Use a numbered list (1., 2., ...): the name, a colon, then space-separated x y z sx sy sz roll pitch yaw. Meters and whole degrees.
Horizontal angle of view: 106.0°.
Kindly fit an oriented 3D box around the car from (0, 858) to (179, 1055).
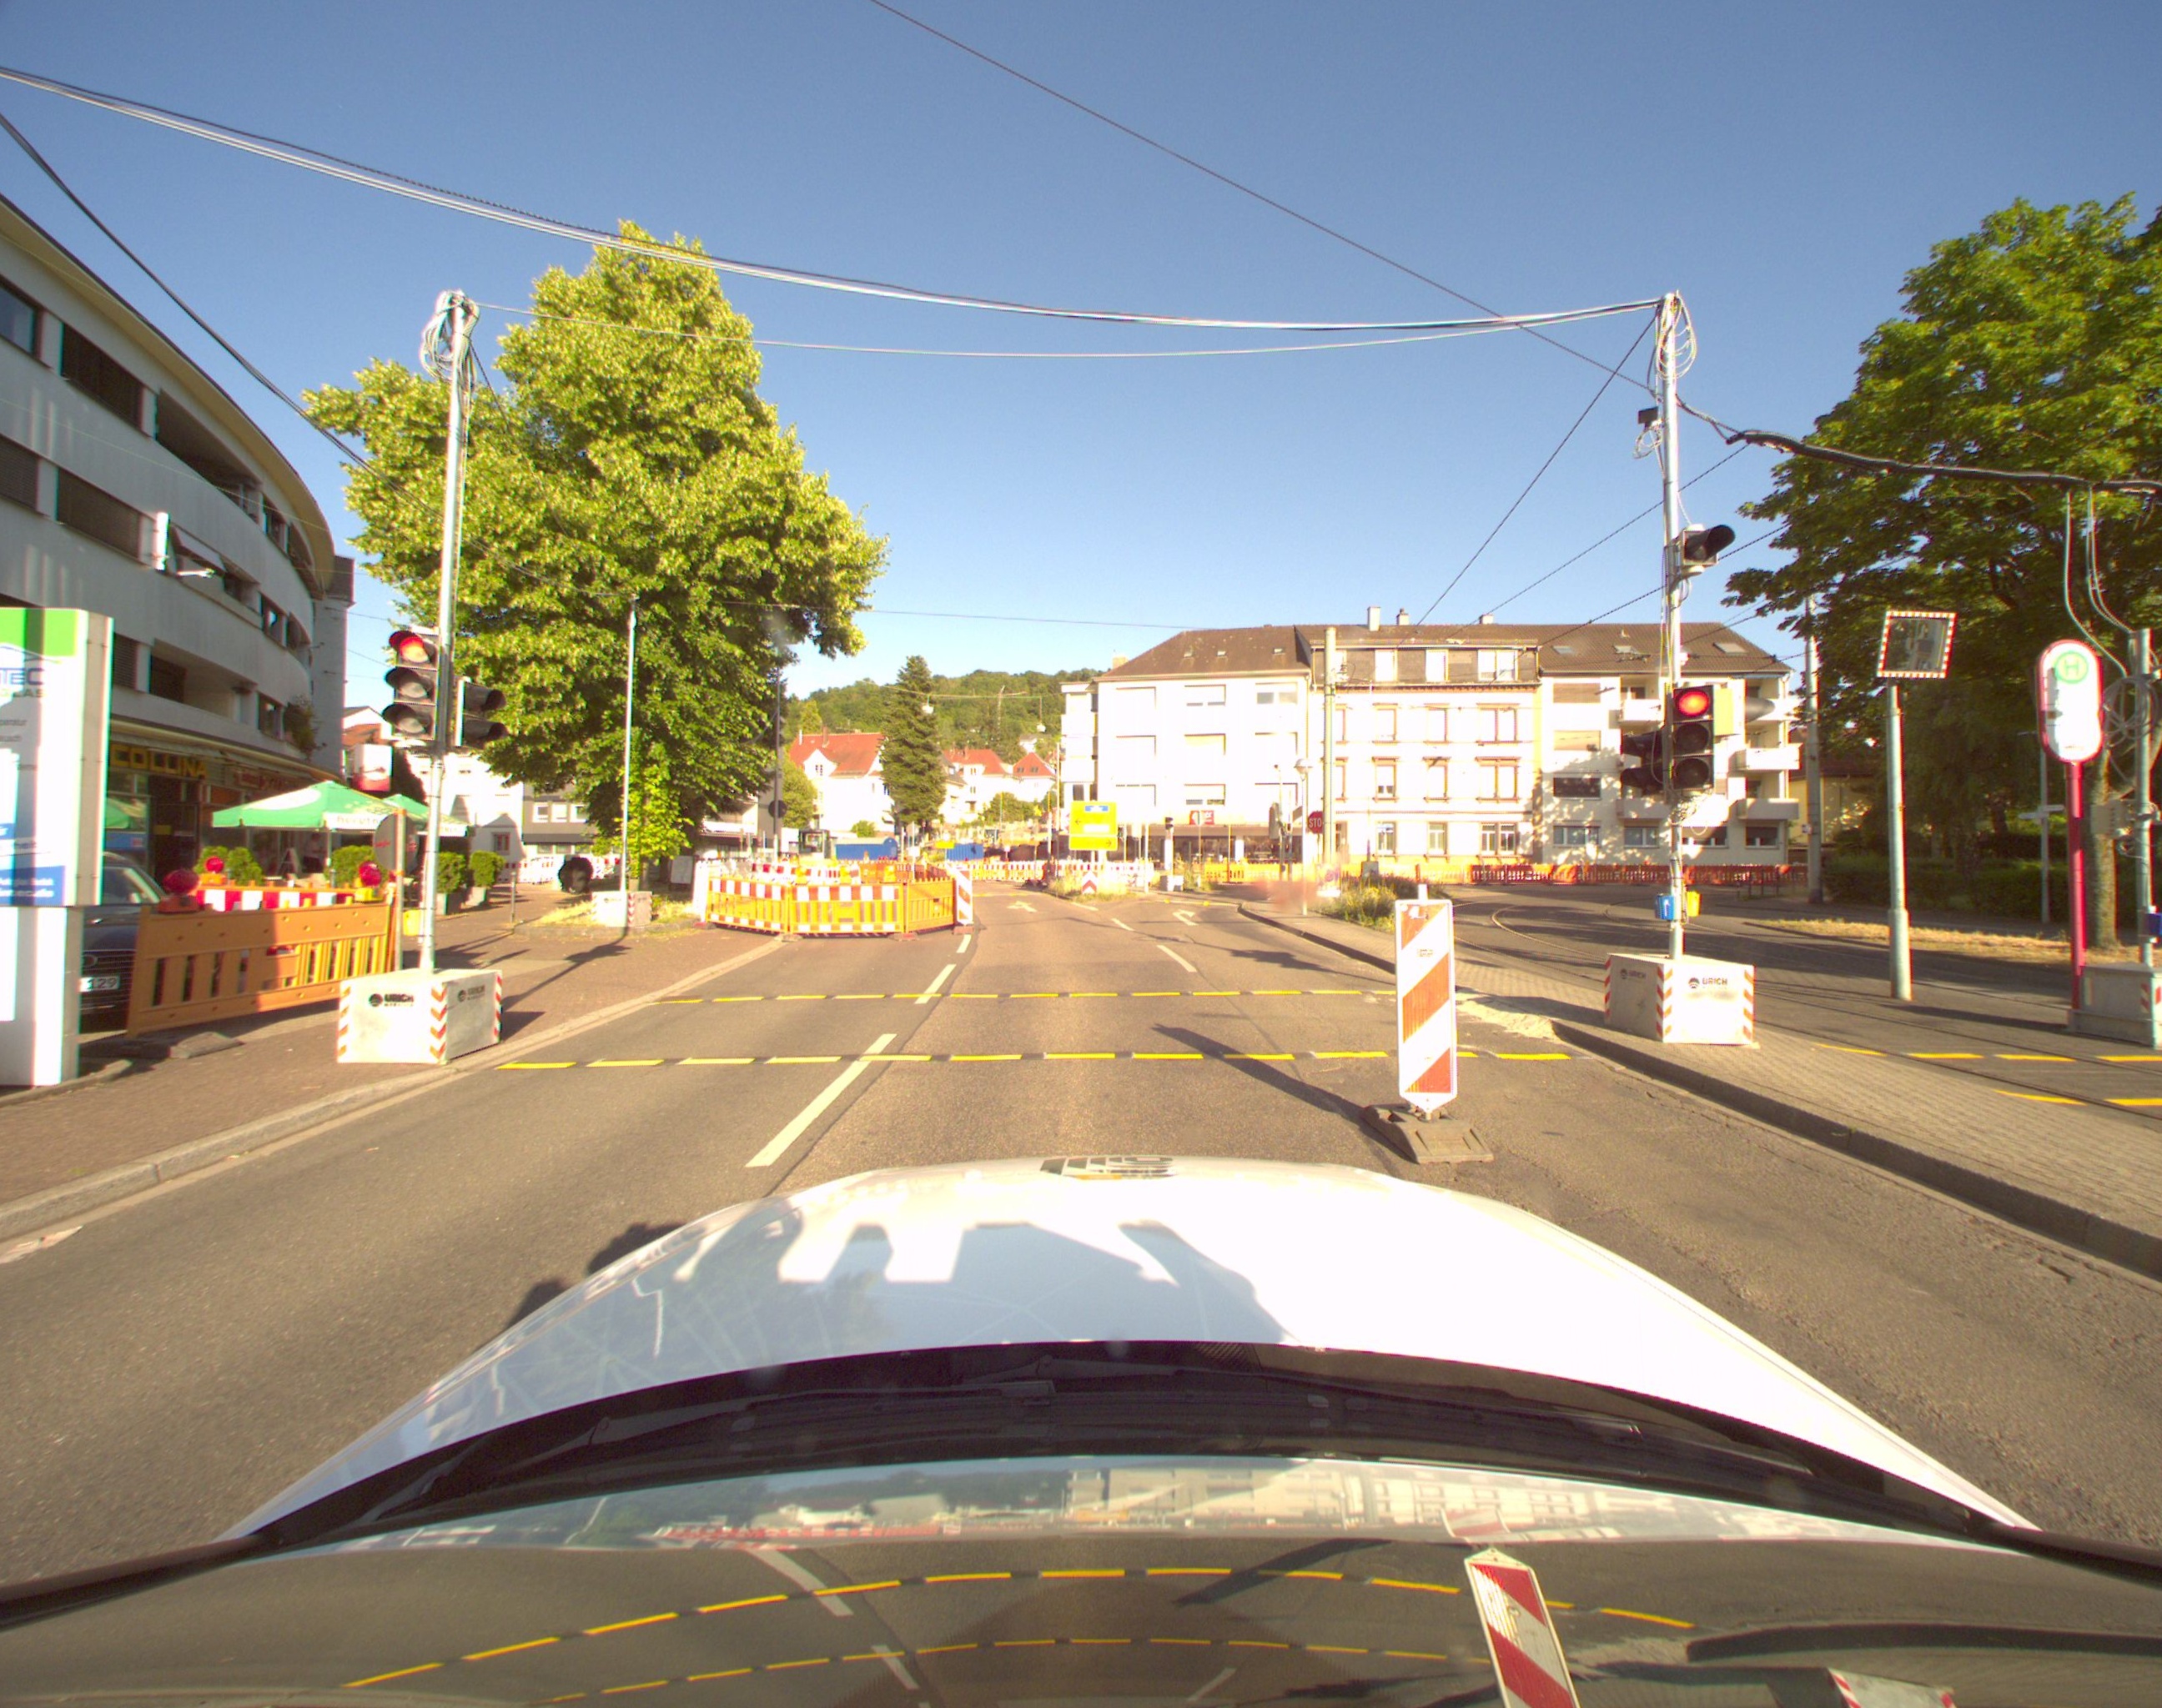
1. car: -9.319 0.781 7.314 3.835 1.438 1.606 -1 0 42

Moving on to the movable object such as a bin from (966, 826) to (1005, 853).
1. movable object such as a bin: -9.240 -1.345 79.398 1.932 2.494 4.574 -1 -1 20

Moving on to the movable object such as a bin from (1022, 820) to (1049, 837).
1. movable object such as a bin: -6.418 -3.590 115.298 2.549 2.122 5.801 -1 -1 11

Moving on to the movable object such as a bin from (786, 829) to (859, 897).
1. movable object such as a bin: -9.399 0.302 29.880 1.643 2.324 3.916 0 0 -3

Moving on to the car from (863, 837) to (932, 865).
1. car: -14.929 -0.224 66.707 2.562 2.121 6.181 -1 -1 20
